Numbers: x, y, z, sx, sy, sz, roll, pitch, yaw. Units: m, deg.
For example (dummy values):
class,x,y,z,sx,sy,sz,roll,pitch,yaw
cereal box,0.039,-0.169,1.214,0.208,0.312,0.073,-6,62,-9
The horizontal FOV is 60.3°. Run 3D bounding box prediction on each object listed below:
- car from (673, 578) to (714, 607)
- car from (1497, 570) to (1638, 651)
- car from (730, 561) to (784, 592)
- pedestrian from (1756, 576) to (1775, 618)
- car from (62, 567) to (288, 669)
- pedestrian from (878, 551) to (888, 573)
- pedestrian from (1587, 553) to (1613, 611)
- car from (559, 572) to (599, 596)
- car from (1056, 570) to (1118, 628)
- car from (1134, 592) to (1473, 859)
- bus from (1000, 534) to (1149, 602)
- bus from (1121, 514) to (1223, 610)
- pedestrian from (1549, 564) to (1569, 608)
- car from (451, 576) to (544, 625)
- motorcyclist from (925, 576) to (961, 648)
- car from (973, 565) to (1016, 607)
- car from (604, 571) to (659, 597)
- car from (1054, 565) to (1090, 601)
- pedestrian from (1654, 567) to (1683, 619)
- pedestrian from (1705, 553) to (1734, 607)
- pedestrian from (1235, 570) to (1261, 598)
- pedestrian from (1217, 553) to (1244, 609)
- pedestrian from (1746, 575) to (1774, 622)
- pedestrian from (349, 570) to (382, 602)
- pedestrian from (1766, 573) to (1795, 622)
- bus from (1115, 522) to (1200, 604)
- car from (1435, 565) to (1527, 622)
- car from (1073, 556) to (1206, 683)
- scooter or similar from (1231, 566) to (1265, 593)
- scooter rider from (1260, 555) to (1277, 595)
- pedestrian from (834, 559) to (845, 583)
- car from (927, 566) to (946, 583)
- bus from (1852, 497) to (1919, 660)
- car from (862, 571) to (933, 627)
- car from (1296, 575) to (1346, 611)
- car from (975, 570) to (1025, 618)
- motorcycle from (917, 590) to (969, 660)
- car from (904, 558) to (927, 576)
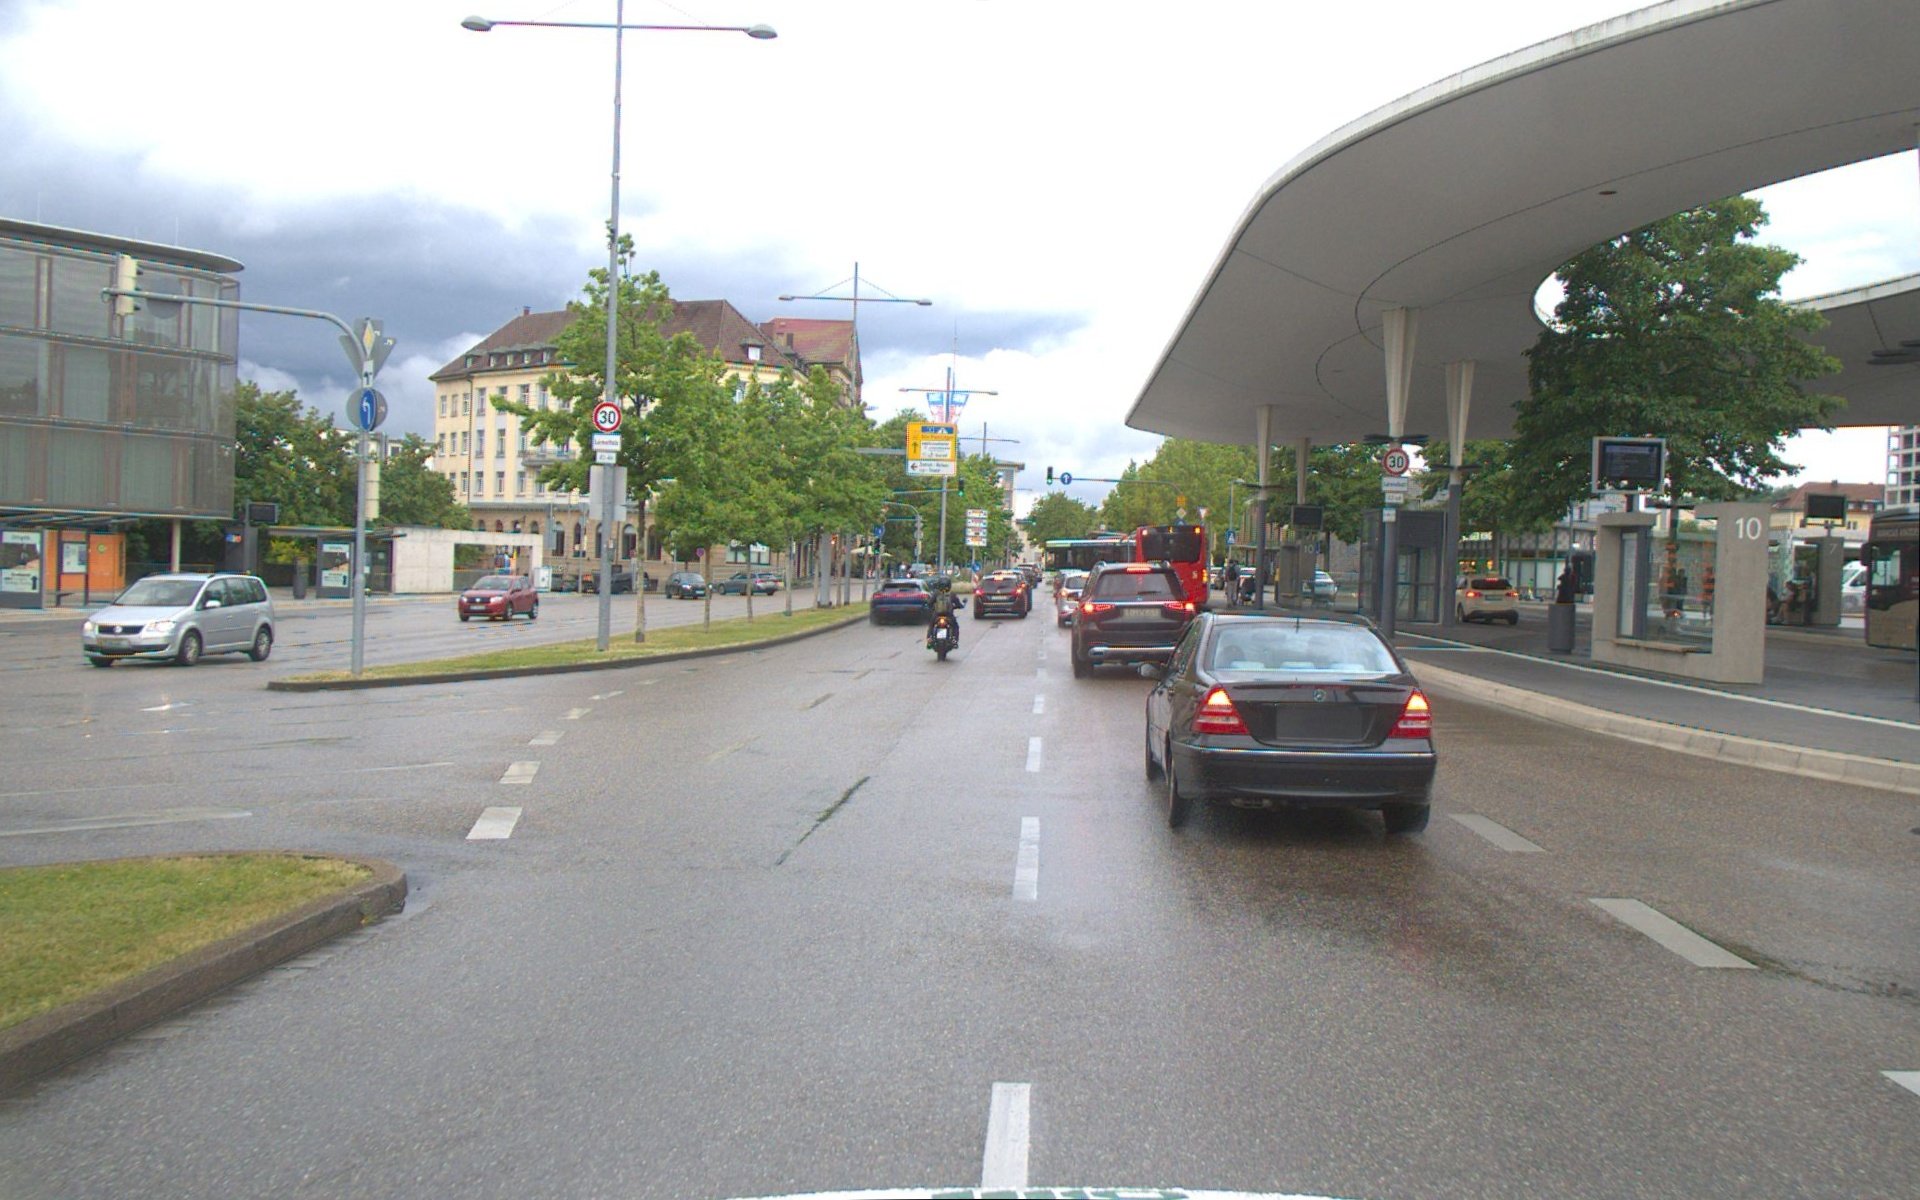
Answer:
class,x,y,z,sx,sy,sz,roll,pitch,yaw
car,-14.774,-0.448,91.564,1.653,1.554,4.618,0,1,-17
car,11.927,0.165,32.664,1.613,1.478,3.238,1,1,1
car,-12.519,-1.460,101.706,1.845,1.713,3.961,5,-2,-29
pedestrian,25.023,-0.095,51.390,0.450,1.272,0.561,2,1,32
car,-14.128,0.279,30.083,1.808,1.681,4.421,1,1,3
pedestrian,-7.229,-3.566,155.342,0.714,2.000,0.820,0,1,-23
pedestrian,23.289,-0.655,60.203,0.710,2.049,0.668,3,-3,29
car,-27.631,-1.201,119.993,1.646,1.632,3.210,-4,3,-36
car,3.764,-0.058,49.425,1.704,1.594,3.873,-1,1,3
car,2.245,0.728,11.874,1.662,1.487,4.305,0,1,2
bus,7.046,-2.024,104.801,2.813,4.057,11.722,0,1,-34
bus,7.963,-1.434,63.397,3.217,3.349,10.884,0,1,4
pedestrian,23.190,-0.542,64.032,0.569,1.605,0.560,3,-3,33
car,-15.770,-0.014,56.557,1.784,1.579,4.035,0,1,4
motorcyclist,-0.331,0.229,32.086,0.628,1.371,0.689,0,1,6
car,1.406,-0.577,65.771,1.542,1.594,3.873,-1,1,3
car,-23.092,-1.119,116.171,2.099,1.807,4.331,-1,1,-39
car,5.112,-0.810,75.967,1.542,1.594,3.873,-1,1,3
pedestrian,22.325,-0.219,52.107,0.586,1.609,0.711,1,-1,-6
pedestrian,25.583,-0.675,55.723,0.694,1.736,0.768,-3,3,15
pedestrian,11.295,-0.626,64.788,0.894,1.002,0.634,2,-3,17
pedestrian,10.046,-0.714,61.398,0.761,2.048,0.782,4,2,15
pedestrian,25.066,-0.044,51.846,0.548,1.469,0.613,1,0,0
pedestrian,-25.408,-0.615,70.724,0.956,1.289,0.849,5,2,24
pedestrian,25.127,-0.075,50.665,0.548,1.469,0.613,1,0,0
bus,8.567,-1.609,72.588,3.222,3.346,8.854,0,1,4
car,16.603,-0.237,52.870,1.676,1.691,4.241,2,1,2
car,2.928,0.250,27.821,1.916,1.908,4.876,-1,1,3
scooter or similar,11.257,-0.794,64.616,1.217,1.030,0.764,1,0,17
scooter rider,12.013,-0.975,64.386,0.579,1.516,0.765,1,0,17
pedestrian,-10.186,-2.428,139.309,0.714,2.049,0.820,0,1,-23
car,-2.204,-2.421,157.987,1.542,1.594,3.431,-1,1,3
bus,19.479,-0.349,28.088,2.664,3.096,12.095,0,1,3
car,-1.911,-0.077,51.614,1.778,1.598,4.406,-1,1,3
car,18.173,-0.386,83.419,1.676,1.691,4.241,2,1,2
car,1.399,-0.220,56.709,1.542,1.531,3.873,-1,1,4
motorcycle,-0.312,0.468,32.092,0.776,1.284,1.856,-1,1,6
car,-4.080,-3.042,151.817,1.743,1.594,3.431,-1,1,3
